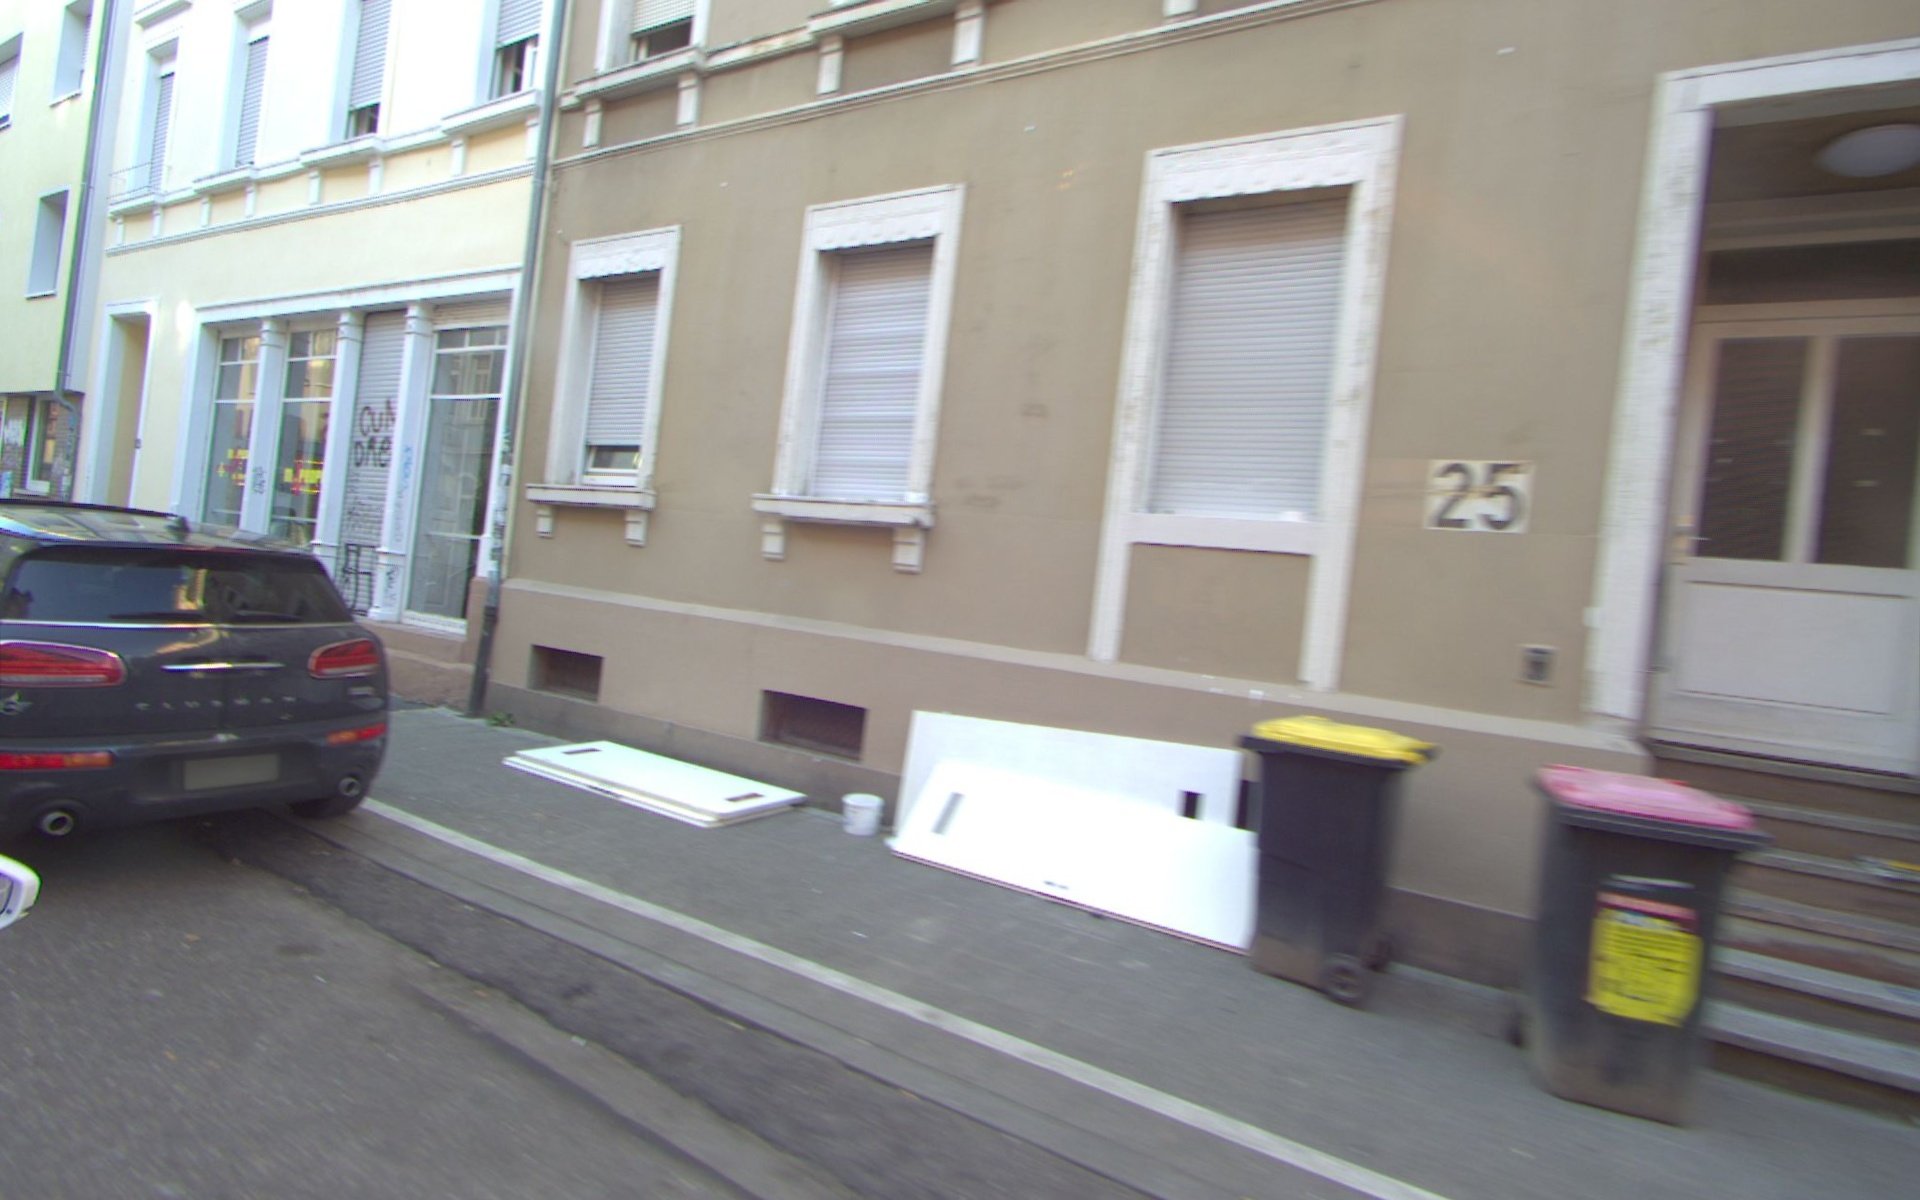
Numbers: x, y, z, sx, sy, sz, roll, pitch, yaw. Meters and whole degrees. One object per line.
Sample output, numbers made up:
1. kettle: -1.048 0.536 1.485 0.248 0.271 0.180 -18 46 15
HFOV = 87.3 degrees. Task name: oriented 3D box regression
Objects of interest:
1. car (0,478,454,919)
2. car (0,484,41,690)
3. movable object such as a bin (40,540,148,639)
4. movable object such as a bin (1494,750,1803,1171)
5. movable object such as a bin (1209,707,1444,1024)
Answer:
1. car: -4.635 0.217 5.114 3.934 1.541 1.818 6 1 32
2. car: -9.314 -0.292 8.136 3.934 1.576 1.711 6 1 32
3. movable object such as a bin: -10.218 -0.118 11.880 0.667 1.089 0.806 6 2 36
4. movable object such as a bin: 2.297 1.148 3.470 0.665 1.089 0.737 6 2 25
5. movable object such as a bin: 1.603 1.072 4.362 0.667 1.089 0.806 6 2 36
